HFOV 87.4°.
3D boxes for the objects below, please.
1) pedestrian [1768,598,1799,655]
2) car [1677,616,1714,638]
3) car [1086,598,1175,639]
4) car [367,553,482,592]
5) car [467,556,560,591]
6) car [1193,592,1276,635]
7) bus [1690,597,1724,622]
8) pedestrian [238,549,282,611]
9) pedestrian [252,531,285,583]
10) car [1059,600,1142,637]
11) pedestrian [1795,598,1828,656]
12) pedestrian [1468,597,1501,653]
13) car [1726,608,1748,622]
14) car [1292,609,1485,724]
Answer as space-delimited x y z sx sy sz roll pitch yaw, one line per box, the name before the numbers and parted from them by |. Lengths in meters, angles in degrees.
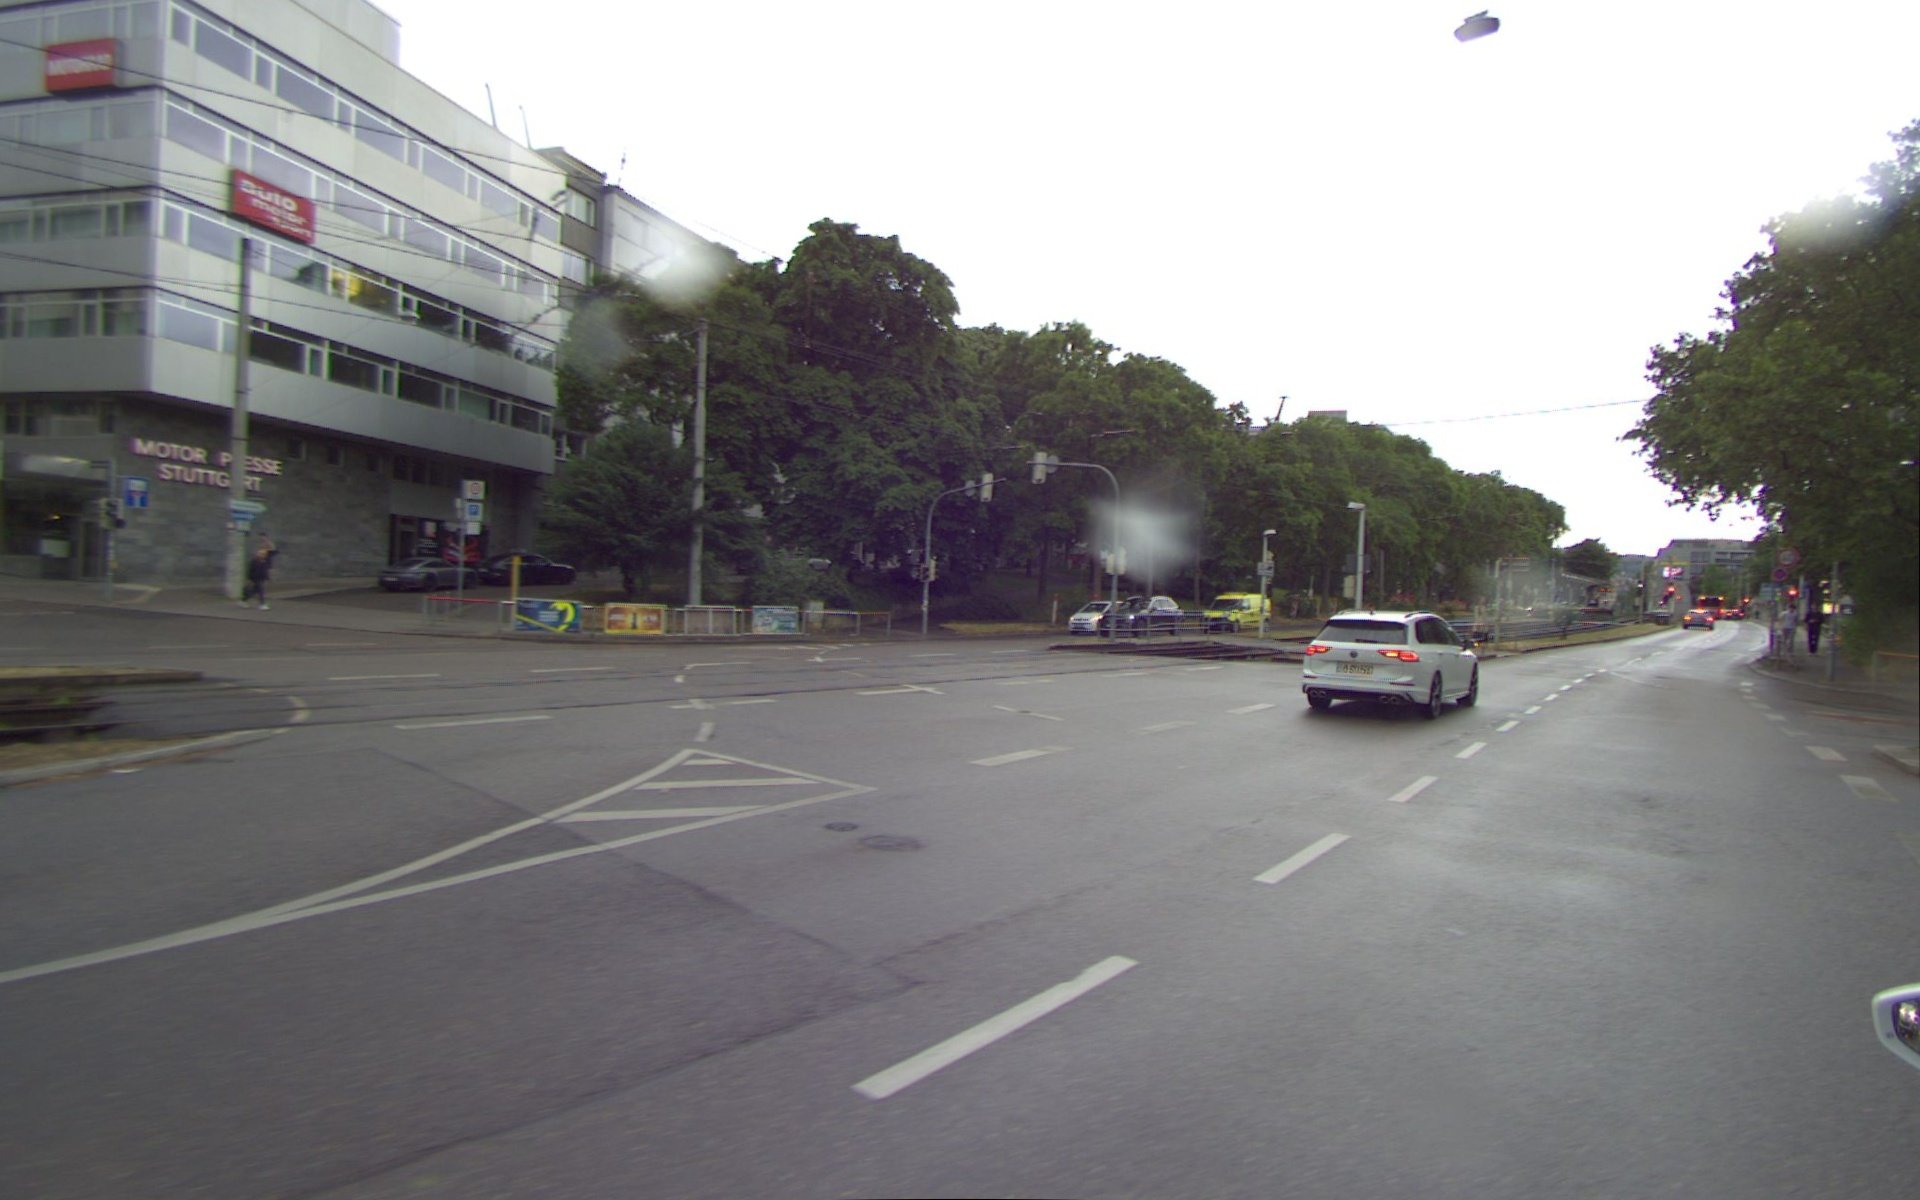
pedestrian | 29.927 0.960 36.518 0.806 2.040 1.071 0 -1 43
car | 54.301 1.986 74.141 1.970 1.539 4.331 0 -1 39
car | 7.034 0.772 41.262 1.899 1.566 3.660 2 0 43
car | -21.542 -1.082 40.568 1.841 1.450 4.095 2 1 13
car | -20.302 -1.182 45.824 1.841 1.450 4.002 2 1 13
car | 13.017 0.657 47.462 1.899 1.875 4.541 2 0 43
bus | 100.060 1.275 134.469 3.545 3.213 10.378 0 -1 37
pedestrian | -21.793 -0.619 31.278 0.832 1.886 0.720 3 1 15
pedestrian | -25.934 -1.610 37.689 0.705 1.886 0.760 3 3 19
car | 6.325 0.835 44.976 1.899 1.566 3.660 2 0 43
pedestrian | 30.531 0.964 36.011 0.865 2.040 1.071 0 -1 43
pedestrian | 17.713 0.818 33.894 0.857 1.826 0.866 3 1 32
car | 105.153 2.034 135.982 2.333 1.841 5.162 0 -1 38
car | 6.609 0.929 15.211 1.772 1.461 4.460 0 -2 35
